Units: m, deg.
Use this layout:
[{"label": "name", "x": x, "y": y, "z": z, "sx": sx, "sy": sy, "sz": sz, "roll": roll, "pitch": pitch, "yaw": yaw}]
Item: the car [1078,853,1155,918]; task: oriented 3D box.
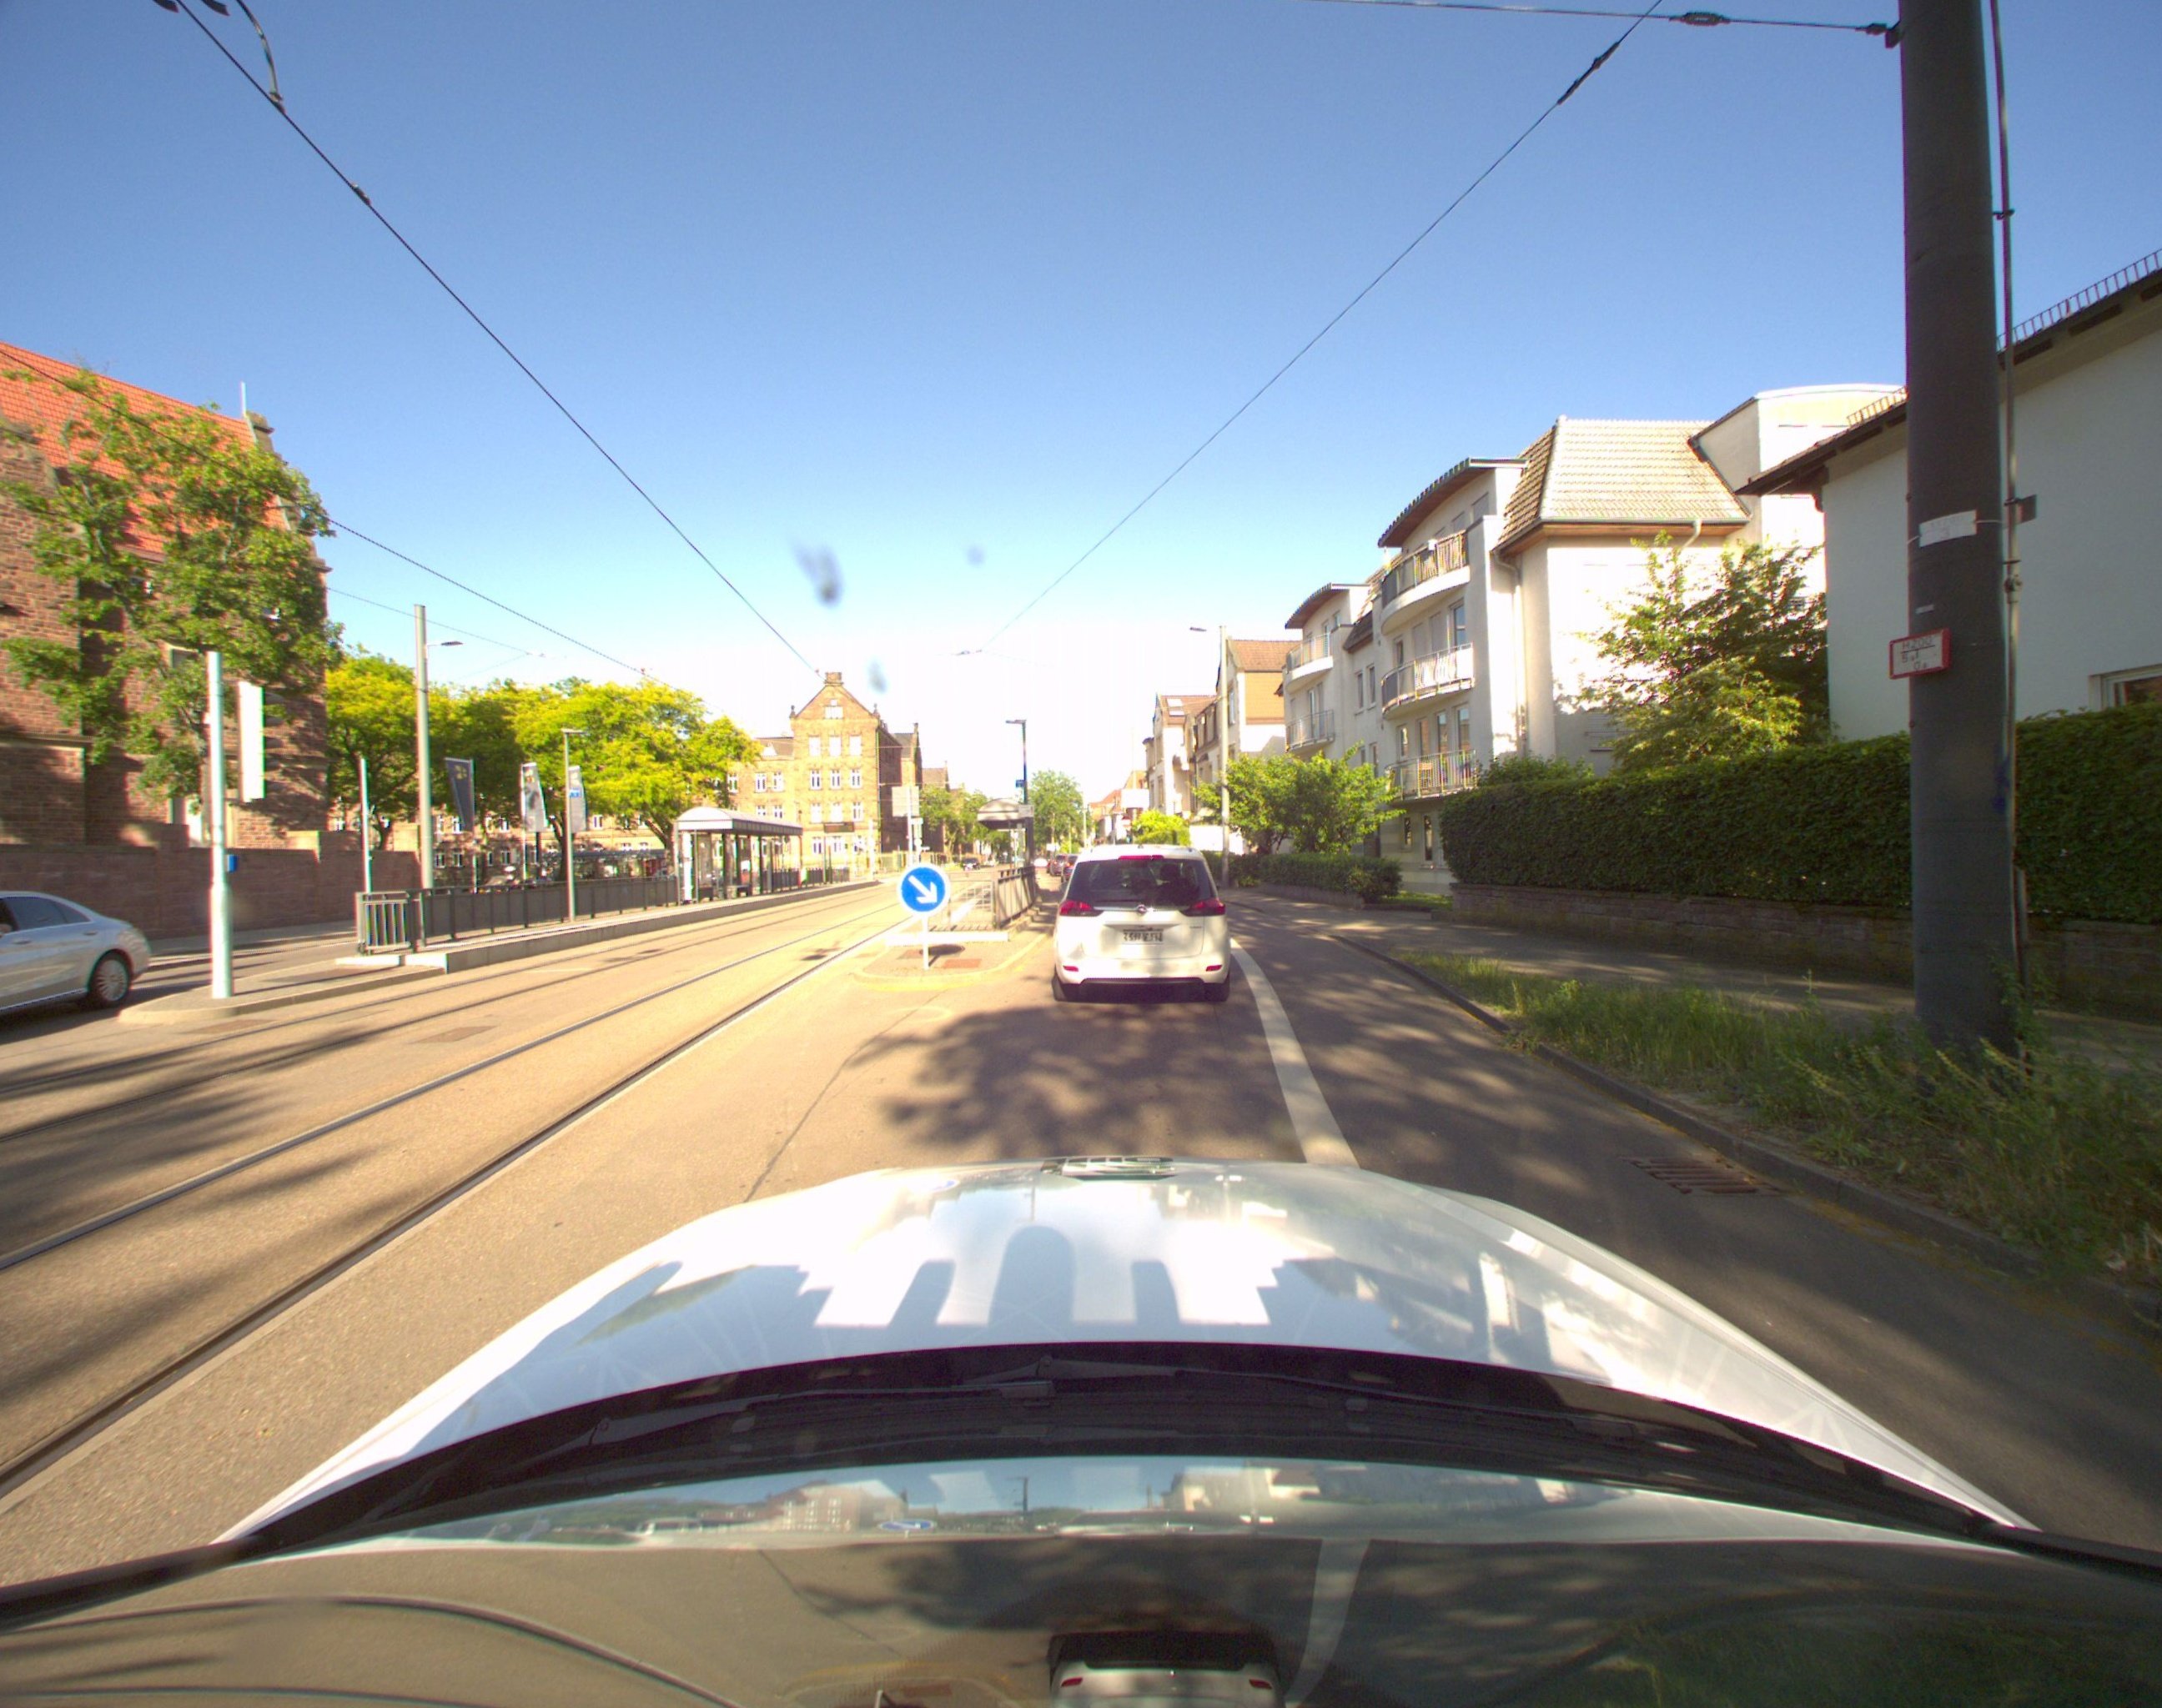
[{"label": "car", "x": 0.804, "y": 0.705, "z": 20.277, "sx": 1.582, "sy": 1.420, "sz": 3.897, "roll": -2, "pitch": 0, "yaw": -2}]

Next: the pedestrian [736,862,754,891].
[{"label": "pedestrian", "x": -21.964, "y": 1.451, "z": 53.228, "sx": 0.724, "sy": 1.861, "sz": 1.096, "roll": -1, "pitch": -1, "yaw": -1}]

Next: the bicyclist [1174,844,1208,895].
[{"label": "bicyclist", "x": 3.365, "y": 0.476, "z": 24.979, "sx": 0.820, "sy": 1.501, "sz": 0.933, "roll": -1, "pitch": -1, "yaw": -5}]

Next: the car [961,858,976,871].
[{"label": "car", "x": -14.879, "y": 1.338, "z": 108.091, "sx": 1.905, "sy": 1.677, "sz": 4.346, "roll": -1, "pitch": 0, "yaw": -8}]

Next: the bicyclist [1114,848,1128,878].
[{"label": "bicyclist", "x": 2.192, "y": 0.476, "z": 45.008, "sx": 0.684, "sy": 1.634, "sz": 1.015, "roll": -1, "pitch": -1, "yaw": -1}]

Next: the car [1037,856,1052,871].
[{"label": "car", "x": -4.396, "y": 1.143, "z": 98.556, "sx": 1.771, "sy": 1.692, "sz": 3.877, "roll": -1, "pitch": -1, "yaw": -2}]

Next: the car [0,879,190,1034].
[{"label": "car", "x": -11.574, "y": 1.071, "z": 8.039, "sx": 1.891, "sy": 1.415, "sz": 4.590, "roll": -2, "pitch": 1, "yaw": -22}]

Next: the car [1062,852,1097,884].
[{"label": "car", "x": -0.077, "y": 0.724, "z": 44.493, "sx": 1.770, "sy": 1.632, "sz": 3.880, "roll": -1, "pitch": -1, "yaw": 0}]

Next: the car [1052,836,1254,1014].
[{"label": "car", "x": 0.618, "y": 0.684, "z": 9.666, "sx": 1.831, "sy": 1.642, "sz": 3.914, "roll": -1, "pitch": -1, "yaw": -3}]

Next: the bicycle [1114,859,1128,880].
[{"label": "bicycle", "x": 2.205, "y": 0.847, "z": 44.974, "sx": 0.684, "sy": 1.157, "sz": 1.618, "roll": -1, "pitch": -1, "yaw": -1}]

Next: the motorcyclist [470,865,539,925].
[{"label": "motorcyclist", "x": -15.275, "y": 1.055, "z": 21.615, "sx": 1.124, "sy": 1.525, "sz": 1.052, "roll": -1, "pitch": -1, "yaw": -8}]

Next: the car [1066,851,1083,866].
[{"label": "car", "x": -0.757, "y": 0.532, "z": 90.766, "sx": 1.771, "sy": 1.632, "sz": 3.877, "roll": -1, "pitch": -1, "yaw": -2}]

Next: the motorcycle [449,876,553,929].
[{"label": "motorcycle", "x": -15.268, "y": 1.238, "z": 21.562, "sx": 1.129, "sy": 1.243, "sz": 2.567, "roll": -1, "pitch": -1, "yaw": -7}]

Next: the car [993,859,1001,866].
[{"label": "car", "x": -21.074, "y": 2.174, "z": 204.298, "sx": 1.903, "sy": 1.677, "sz": 3.993, "roll": -1, "pitch": 0, "yaw": -5}]

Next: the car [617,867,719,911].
[{"label": "car", "x": -15.978, "y": 1.351, "z": 31.771, "sx": 1.850, "sy": 1.403, "sz": 3.980, "roll": -6, "pitch": -2, "yaw": -1}]

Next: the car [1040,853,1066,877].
[{"label": "car", "x": -1.969, "y": 0.798, "z": 58.689, "sx": 1.771, "sy": 1.632, "sz": 3.878, "roll": -1, "pitch": -1, "yaw": -2}]

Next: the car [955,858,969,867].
[{"label": "car", "x": -21.359, "y": 1.582, "z": 145.848, "sx": 1.988, "sy": 1.596, "sz": 3.998, "roll": -1, "pitch": -1, "yaw": -1}]

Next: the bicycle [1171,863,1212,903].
[{"label": "bicycle", "x": 3.371, "y": 0.851, "z": 25.025, "sx": 0.828, "sy": 1.154, "sz": 2.091, "roll": -1, "pitch": -1, "yaw": -4}]

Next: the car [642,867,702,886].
[{"label": "car", "x": -34.242, "y": 1.867, "z": 68.312, "sx": 4.054, "sy": 1.522, "sz": 1.876, "roll": -1, "pitch": -1, "yaw": -2}]

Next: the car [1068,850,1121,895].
[{"label": "car", "x": 0.481, "y": 0.685, "z": 32.152, "sx": 1.772, "sy": 1.632, "sz": 3.875, "roll": -1, "pitch": -1, "yaw": -4}]
